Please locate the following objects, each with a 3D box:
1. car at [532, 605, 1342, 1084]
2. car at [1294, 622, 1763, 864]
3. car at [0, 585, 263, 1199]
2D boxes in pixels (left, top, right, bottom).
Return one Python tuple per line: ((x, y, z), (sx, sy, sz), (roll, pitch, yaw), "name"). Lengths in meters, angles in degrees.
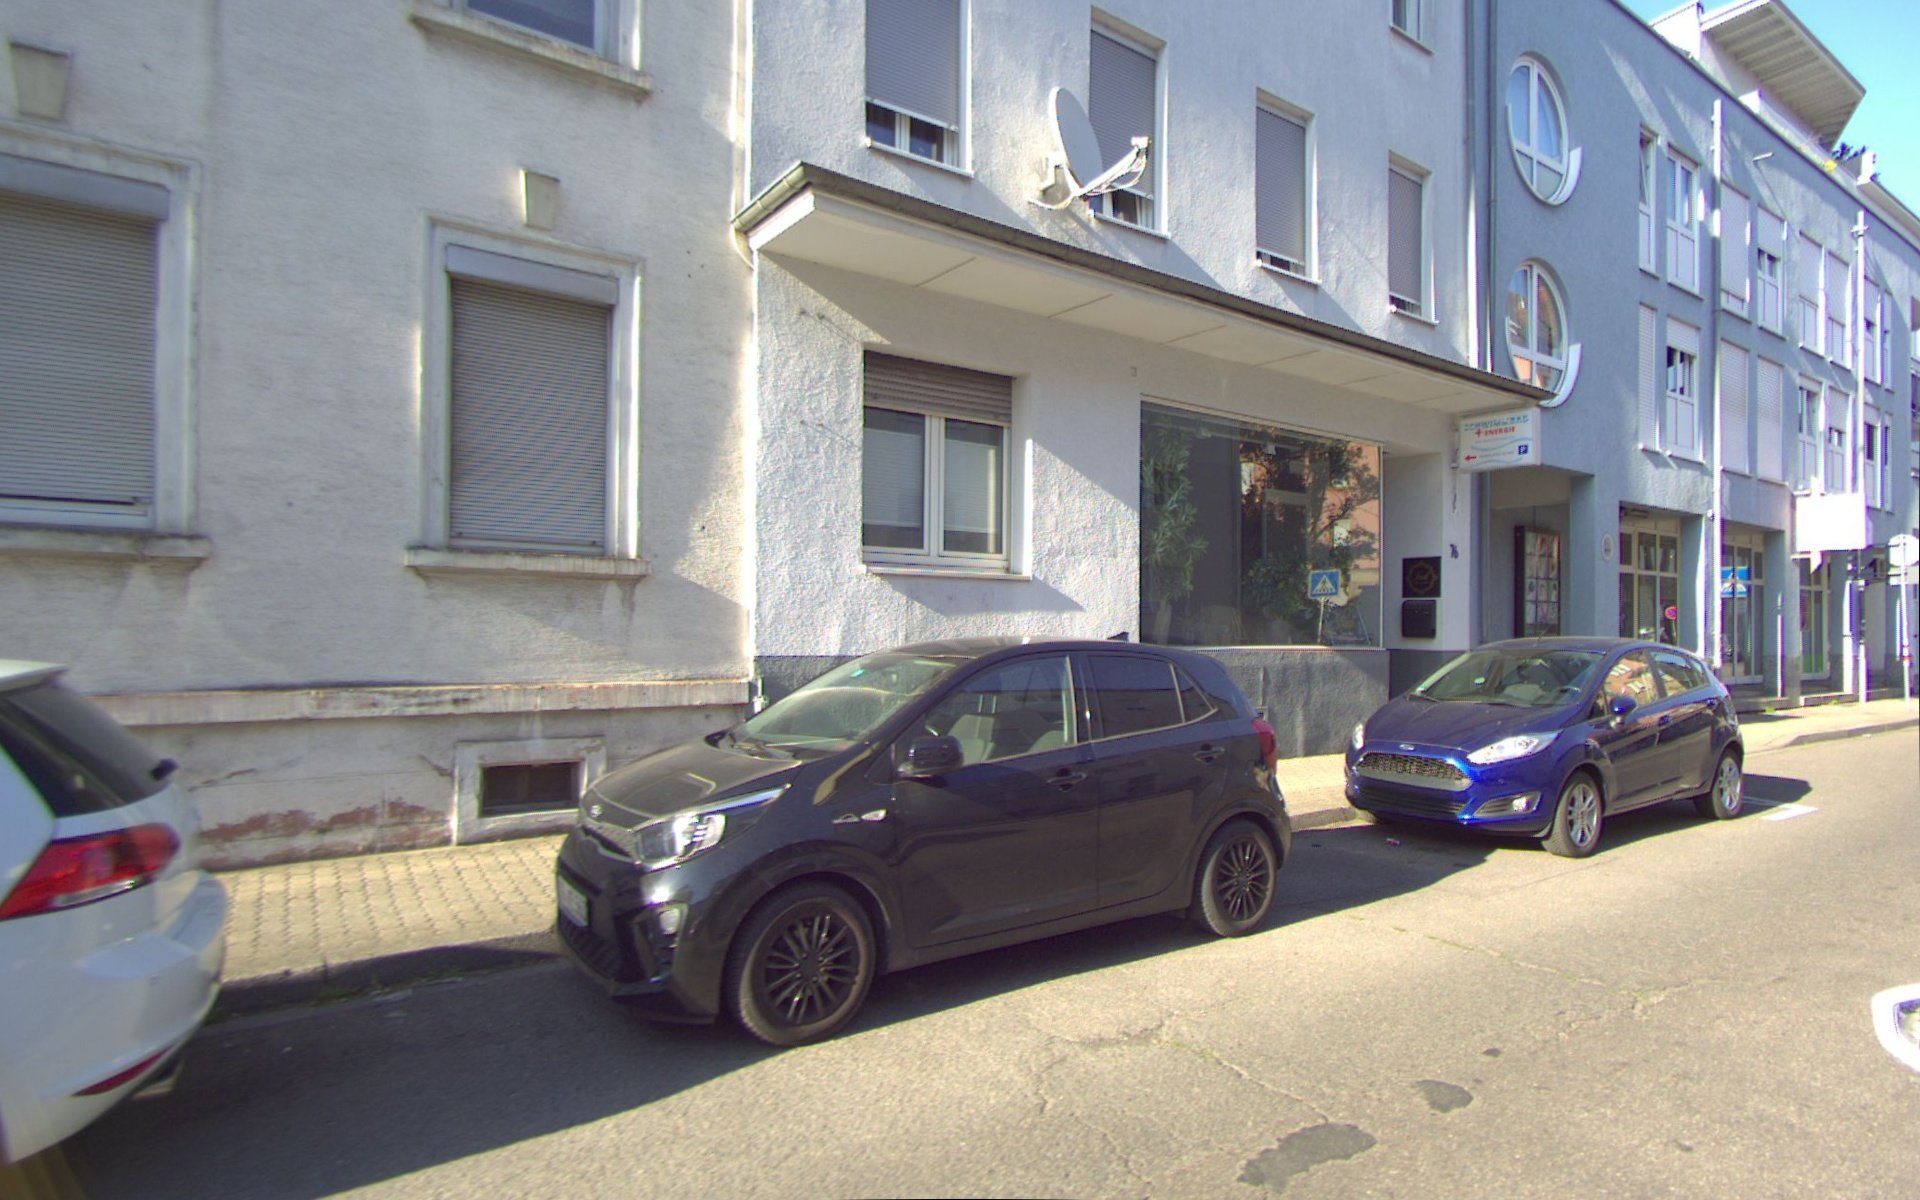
((0.044, 0.834, 5.011), (3.770, 1.546, 1.650), (1, -1, -34), "car")
((4.683, 0.990, 8.136), (3.917, 1.519, 1.721), (2, -3, -33), "car")
((-3.948, 0.749, 2.067), (4.084, 1.515, 1.754), (1, -4, -35), "car")
